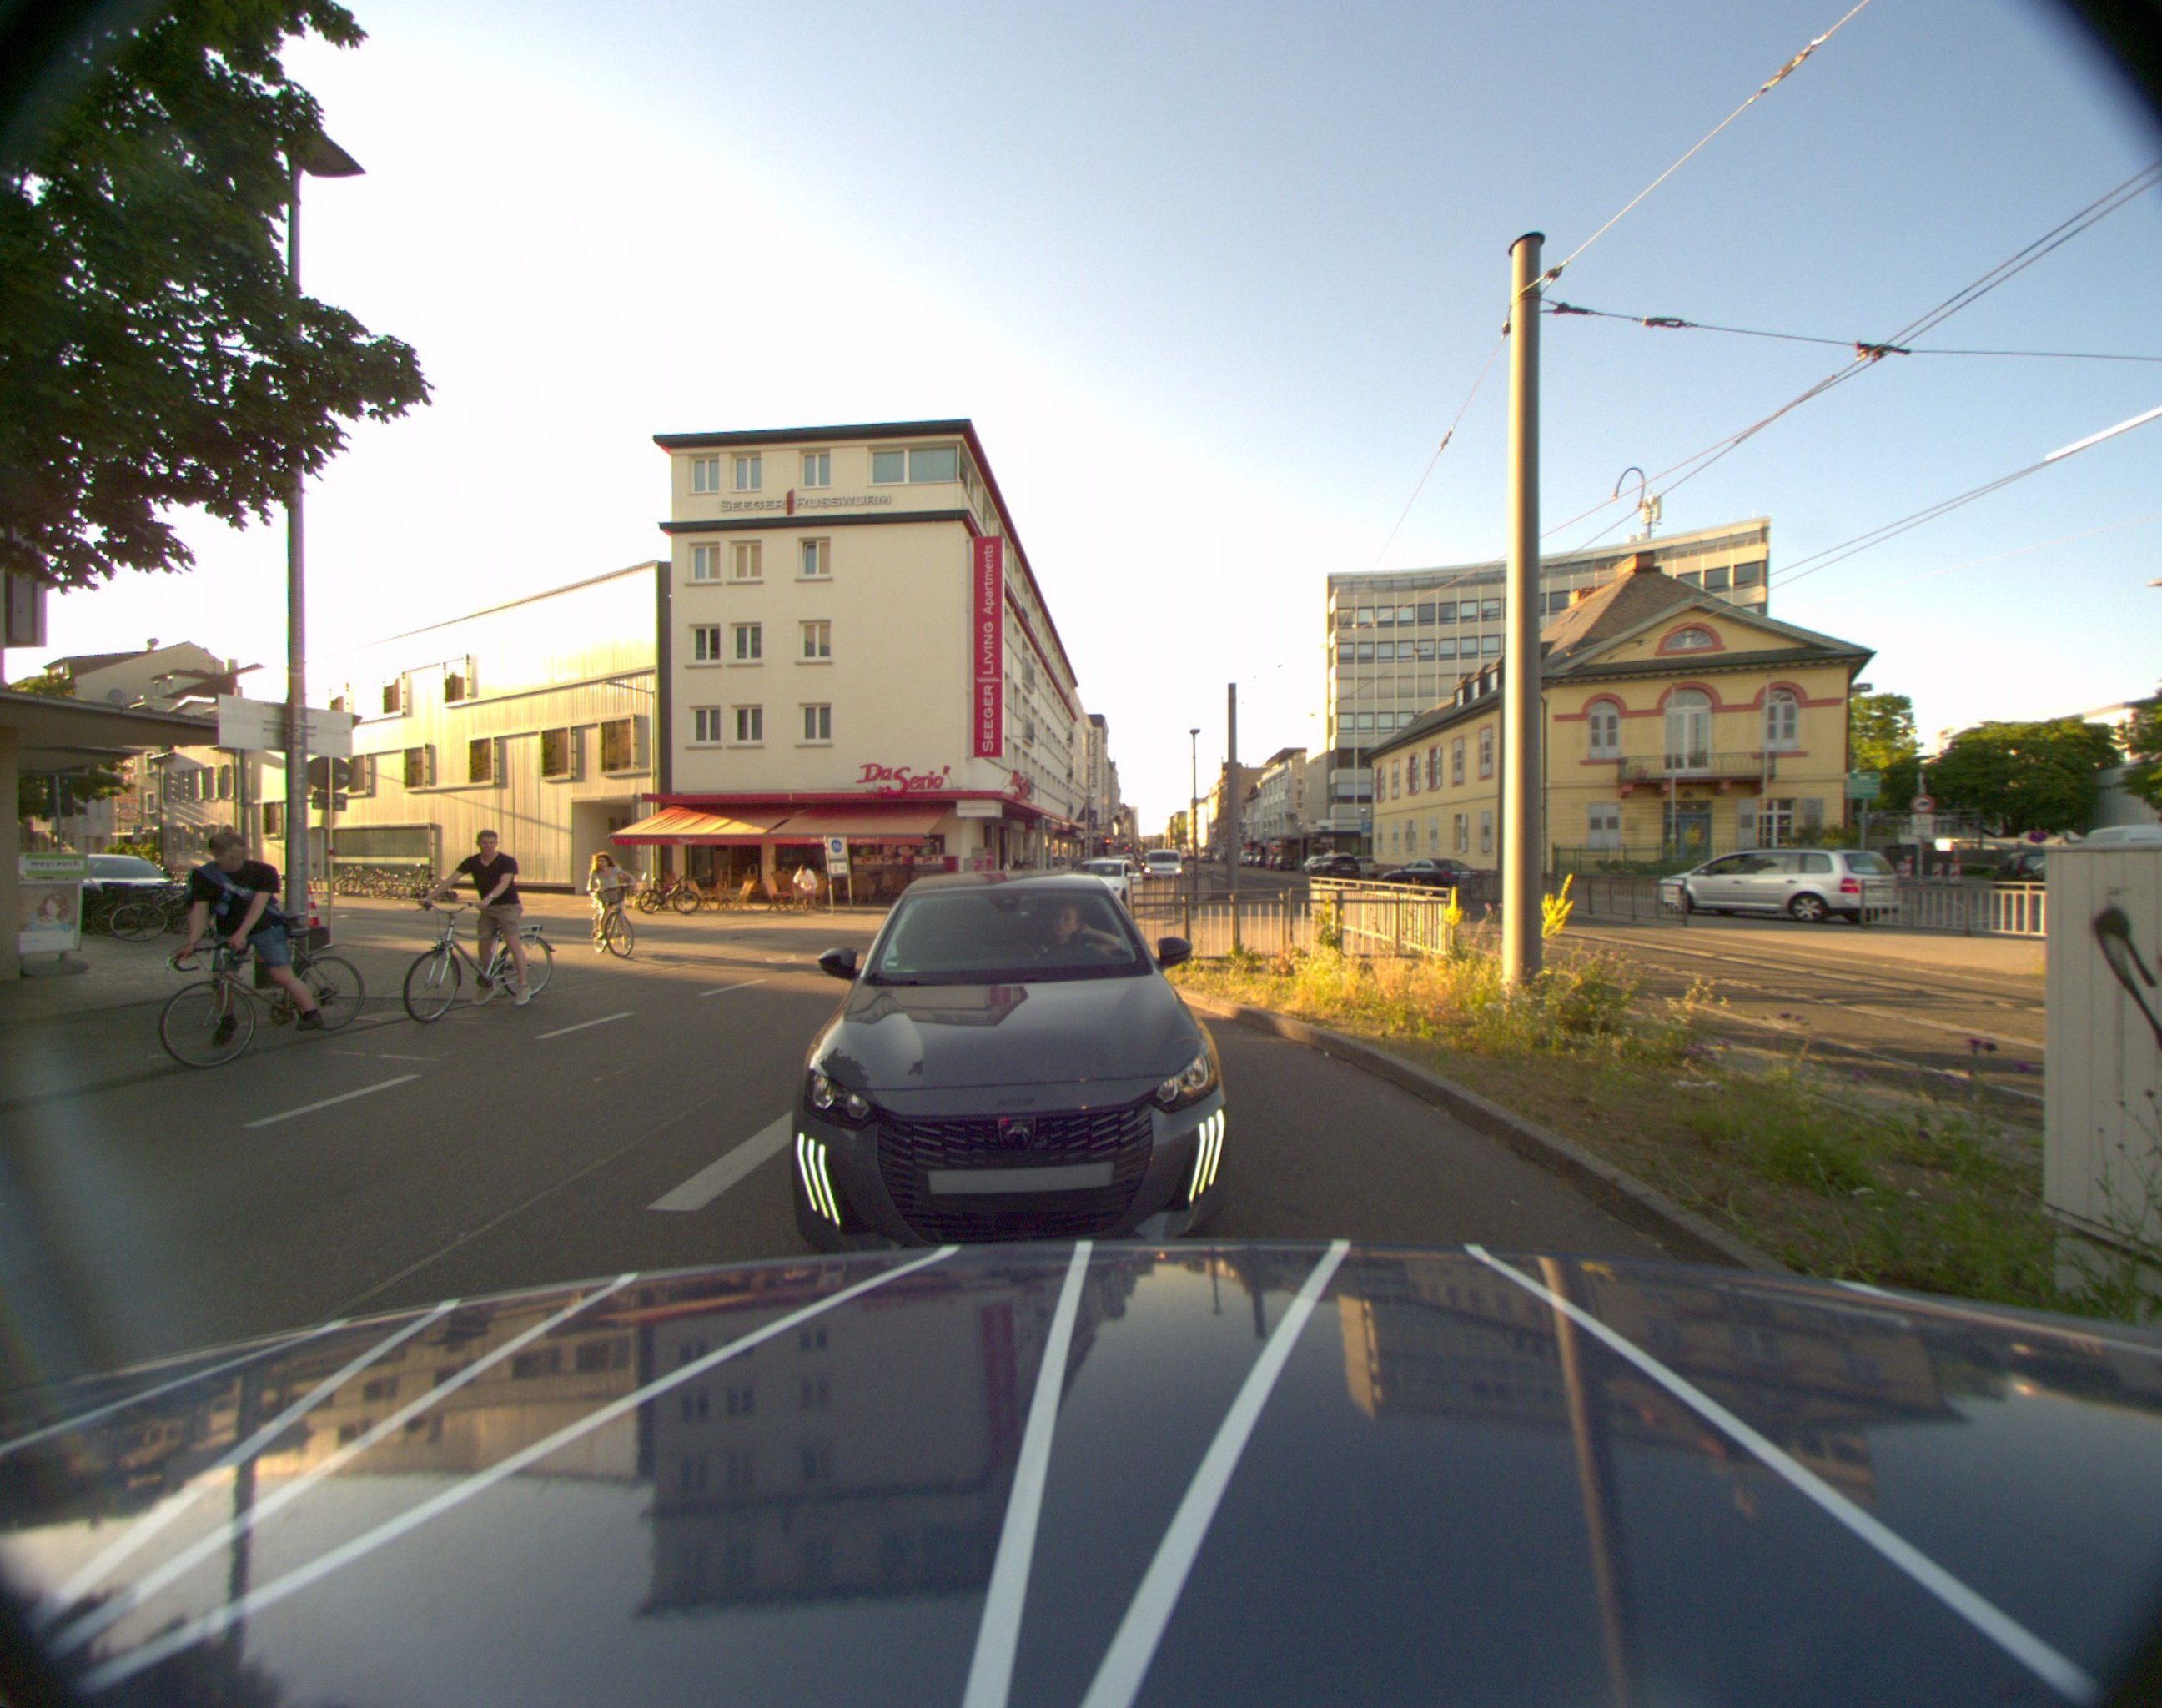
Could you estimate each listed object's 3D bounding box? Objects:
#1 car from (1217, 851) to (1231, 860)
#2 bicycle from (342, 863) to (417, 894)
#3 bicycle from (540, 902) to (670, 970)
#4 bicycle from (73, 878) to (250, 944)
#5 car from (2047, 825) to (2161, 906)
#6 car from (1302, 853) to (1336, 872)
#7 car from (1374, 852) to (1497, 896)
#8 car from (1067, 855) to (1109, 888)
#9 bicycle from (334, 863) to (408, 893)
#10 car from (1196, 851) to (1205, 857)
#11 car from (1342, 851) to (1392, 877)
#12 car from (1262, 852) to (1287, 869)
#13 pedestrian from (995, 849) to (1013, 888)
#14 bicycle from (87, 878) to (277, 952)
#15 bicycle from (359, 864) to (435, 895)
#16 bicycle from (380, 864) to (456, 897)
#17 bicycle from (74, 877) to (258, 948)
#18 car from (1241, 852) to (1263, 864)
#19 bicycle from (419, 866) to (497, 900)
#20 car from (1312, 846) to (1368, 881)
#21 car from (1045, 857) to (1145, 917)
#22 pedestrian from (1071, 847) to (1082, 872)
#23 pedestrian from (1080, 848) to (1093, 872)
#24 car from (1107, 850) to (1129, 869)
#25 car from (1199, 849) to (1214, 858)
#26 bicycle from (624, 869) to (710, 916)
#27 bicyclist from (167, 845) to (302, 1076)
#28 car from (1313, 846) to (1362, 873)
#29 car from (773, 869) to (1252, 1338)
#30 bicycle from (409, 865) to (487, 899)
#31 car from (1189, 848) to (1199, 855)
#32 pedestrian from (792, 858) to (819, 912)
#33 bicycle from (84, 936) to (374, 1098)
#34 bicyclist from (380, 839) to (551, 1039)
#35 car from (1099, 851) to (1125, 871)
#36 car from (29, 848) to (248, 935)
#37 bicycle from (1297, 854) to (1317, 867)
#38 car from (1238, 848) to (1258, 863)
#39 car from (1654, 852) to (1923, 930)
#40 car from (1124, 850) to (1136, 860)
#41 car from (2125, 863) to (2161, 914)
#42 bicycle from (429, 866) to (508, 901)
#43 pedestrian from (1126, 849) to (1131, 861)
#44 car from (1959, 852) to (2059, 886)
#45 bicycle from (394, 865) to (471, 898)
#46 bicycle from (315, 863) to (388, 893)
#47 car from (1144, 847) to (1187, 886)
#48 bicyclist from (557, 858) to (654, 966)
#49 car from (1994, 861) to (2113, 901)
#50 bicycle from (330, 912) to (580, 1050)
[{"bbox_3d":[25.892,0.202,137.761,1.998,1.535,4.880,-1,0,5],"label":"car"},{"bbox_3d":[-28.511,0.989,30.935,0.702,1.213,2.117,0,-1,27],"label":"bicycle"},{"bbox_3d":[-7.526,1.255,12.000,2.007,0.876,0.842,0,1,29],"label":"bicycle"},{"bbox_3d":[-18.300,1.106,15.203,0.702,1.212,2.118,0,-2,27],"label":"bicycle"},{"bbox_3d":[36.605,0.367,26.648,2.092,2.615,5.437,1,1,38],"label":"car"},{"bbox_3d":[19.247,0.666,61.526,1.816,1.503,4.434,1,0,7],"label":"car"},{"bbox_3d":[13.618,0.705,29.546,2.000,1.576,4.582,0,0,-11],"label":"car"},{"bbox_3d":[0.410,0.851,38.813,1.739,1.503,4.687,2,0,5],"label":"car"},{"bbox_3d":[-29.172,0.982,31.265,0.702,1.213,2.117,0,-1,27],"label":"bicycle"},{"bbox_3d":[30.261,0.075,192.705,1.998,1.543,4.001,0,1,5],"label":"car"},{"bbox_3d":[18.754,0.627,50.033,1.817,1.608,4.215,0,0,2],"label":"car"},{"bbox_3d":[20.530,0.642,80.765,1.689,1.503,4.216,10,1,5],"label":"car"},{"bbox_3d":[-3.403,0.637,33.734,0.605,1.750,0.525,-1,1,-39],"label":"pedestrian"},{"bbox_3d":[-16.331,1.061,13.885,0.702,1.213,2.117,0,-1,27],"label":"bicycle"},{"bbox_3d":[-27.400,1.007,30.480,0.702,1.213,2.117,0,-1,27],"label":"bicycle"},{"bbox_3d":[-25.668,1.011,29.459,0.702,1.213,2.117,0,-1,27],"label":"bicycle"},{"bbox_3d":[-17.296,1.066,14.441,0.702,1.213,2.117,0,-1,27],"label":"bicycle"},{"bbox_3d":[21.769,0.474,96.889,1.998,1.457,4.559,-1,0,4],"label":"car"},{"bbox_3d":[-22.930,1.041,28.023,0.702,1.213,2.117,0,-1,27],"label":"bicycle"},{"bbox_3d":[14.517,0.493,42.810,1.997,1.890,4.814,0,0,7],"label":"car"},{"bbox_3d":[0.506,0.836,21.067,1.996,1.450,4.004,0,0,13],"label":"car"},{"bbox_3d":[-0.328,0.404,55.070,0.730,1.731,0.863,2,1,5],"label":"pedestrian"},{"bbox_3d":[0.385,0.414,54.297,0.828,1.708,0.843,2,1,5],"label":"pedestrian"},{"bbox_3d":[3.226,0.444,65.285,1.794,1.503,4.713,2,0,4],"label":"car"},{"bbox_3d":[21.405,-0.053,129.595,1.740,1.503,4.034,0,0,-1],"label":"car"},{"bbox_3d":[-11.624,1.070,21.368,2.110,1.280,0.705,0,1,8],"label":"bicycle"},{"bbox_3d":[-6.946,0.838,6.257,0.466,1.819,0.559,0,1,-3],"label":"bicyclist"},{"bbox_3d":[18.795,0.386,55.840,1.817,1.775,4.496,-4,0,-2],"label":"car"},{"bbox_3d":[-0.584,0.915,4.920,1.734,1.513,4.329,-1,0,-10],"label":"car"},{"bbox_3d":[-23.643,1.024,28.426,0.702,1.213,2.117,0,-1,27],"label":"bicycle"},{"bbox_3d":[26.415,-0.544,178.004,1.997,1.543,4.002,0,0,6],"label":"car"},{"bbox_3d":[-8.043,0.894,22.201,0.574,1.533,0.572,0,1,-2],"label":"pedestrian"},{"bbox_3d":[-6.955,1.266,6.356,0.466,0.965,1.800,0,0,-3],"label":"bicycle"},{"bbox_3d":[-6.267,0.810,7.815,0.840,1.906,1.115,0,1,-1],"label":"bicyclist"},{"bbox_3d":[2.456,0.509,58.994,1.739,1.503,4.305,2,0,5],"label":"car"},{"bbox_3d":[-20.800,0.794,16.791,3.990,1.738,1.898,0,-3,22],"label":"car"},{"bbox_3d":[24.970,0.672,84.054,1.973,1.417,0.834,1,1,3],"label":"bicycle"},{"bbox_3d":[22.873,0.214,104.205,1.959,1.965,5.164,1,0,4],"label":"car"},{"bbox_3d":[16.072,0.742,17.590,2.001,1.576,4.107,0,0,-16],"label":"car"},{"bbox_3d":[7.703,0.202,119.781,1.681,1.534,3.887,2,0,6],"label":"car"},{"bbox_3d":[33.175,1.042,22.212,1.994,1.477,4.102,0,0,37],"label":"car"},{"bbox_3d":[-22.172,1.050,27.571,0.702,1.213,2.117,0,-1,27],"label":"bicycle"},{"bbox_3d":[7.163,0.128,114.530,0.610,1.743,0.605,1,1,5],"label":"pedestrian"},{"bbox_3d":[42.801,0.630,35.157,1.994,1.477,4.102,0,0,37],"label":"car"},{"bbox_3d":[-24.630,1.024,28.903,0.702,1.213,2.117,0,-1,27],"label":"bicycle"},{"bbox_3d":[-30.721,0.999,32.034,0.703,1.213,2.116,0,-1,20],"label":"bicycle"},{"bbox_3d":[4.083,0.560,37.085,1.998,1.805,4.001,0,0,5],"label":"car"},{"bbox_3d":[-7.478,0.868,11.969,1.112,1.613,0.842,0,1,29],"label":"bicyclist"},{"bbox_3d":[39.899,1.036,31.310,1.994,1.477,4.102,0,0,37],"label":"car"},{"bbox_3d":[-6.264,1.215,7.819,0.840,1.014,2.076,0,2,-1],"label":"bicycle"}]
